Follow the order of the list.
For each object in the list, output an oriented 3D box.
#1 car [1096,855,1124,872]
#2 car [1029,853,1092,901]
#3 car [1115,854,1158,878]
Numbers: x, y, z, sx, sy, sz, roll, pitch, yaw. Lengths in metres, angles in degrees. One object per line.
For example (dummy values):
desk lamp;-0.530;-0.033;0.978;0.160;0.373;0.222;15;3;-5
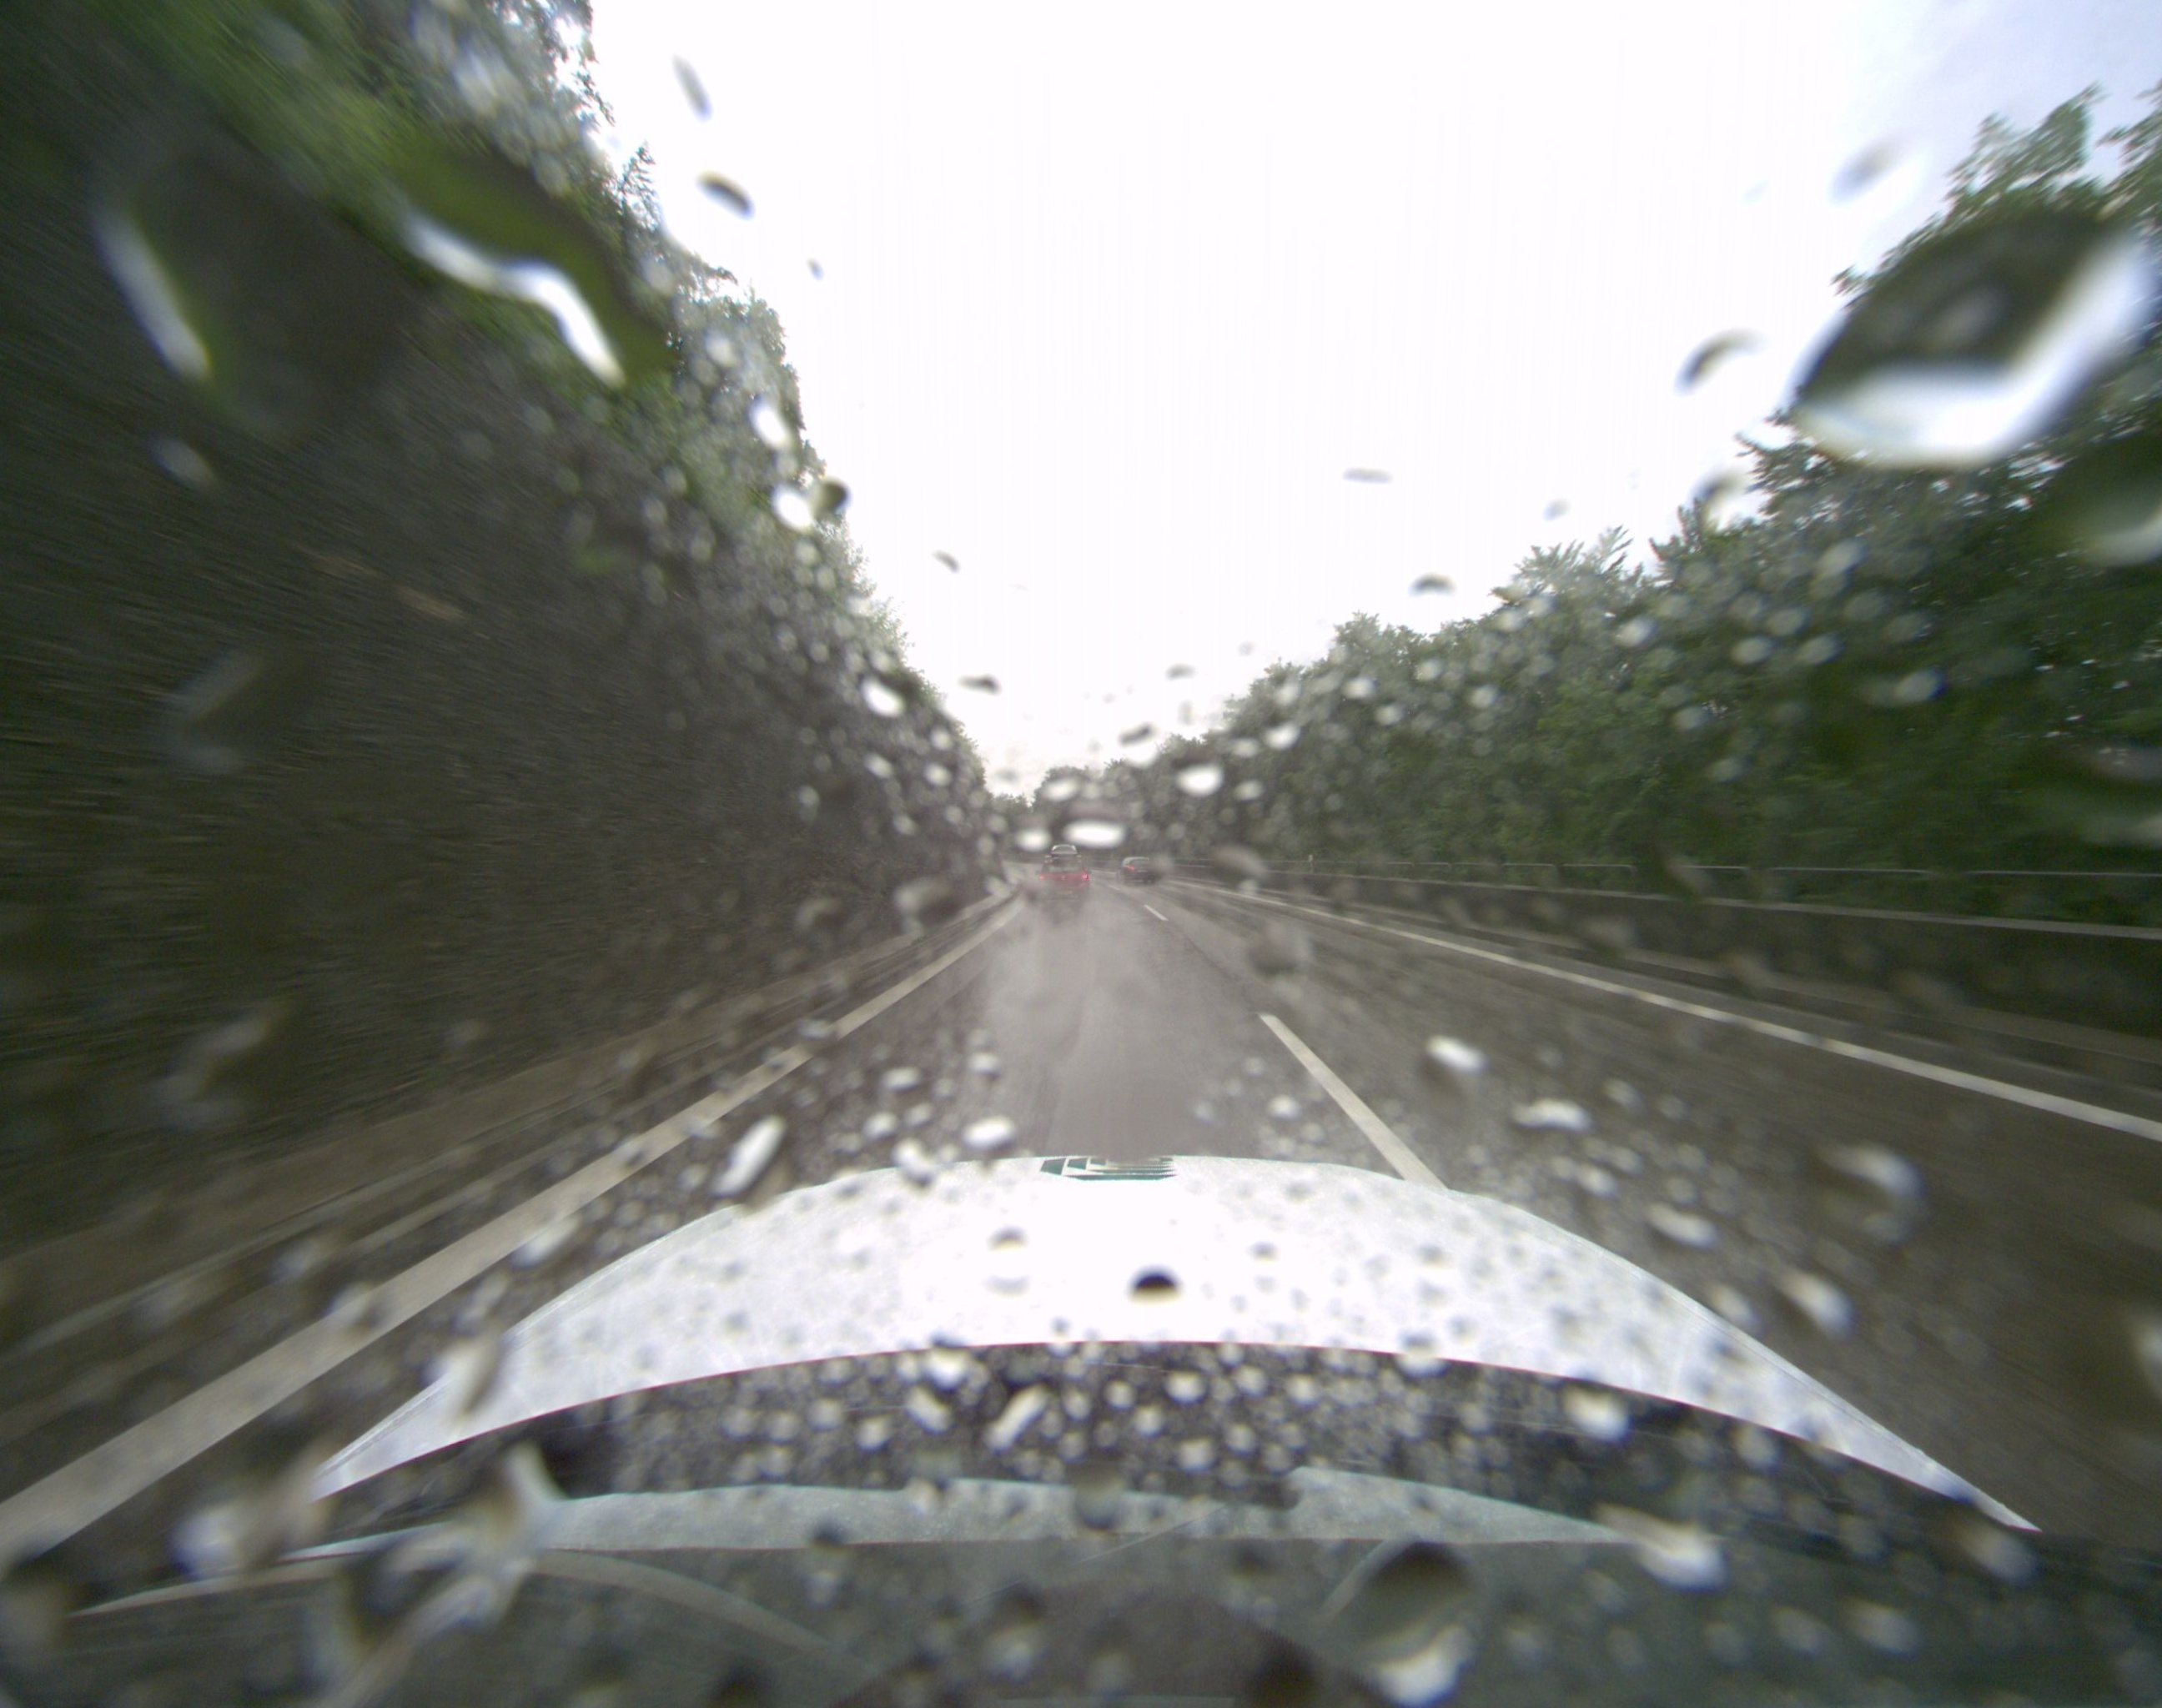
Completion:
car;2.772;0.906;79.221;1.993;1.552;3.988;-1;0;-9
car;-0.687;0.752;28.197;1.988;1.552;3.998;-1;0;-1
car;3.108;0.658;46.052;1.798;1.308;3.992;0;-1;-6
